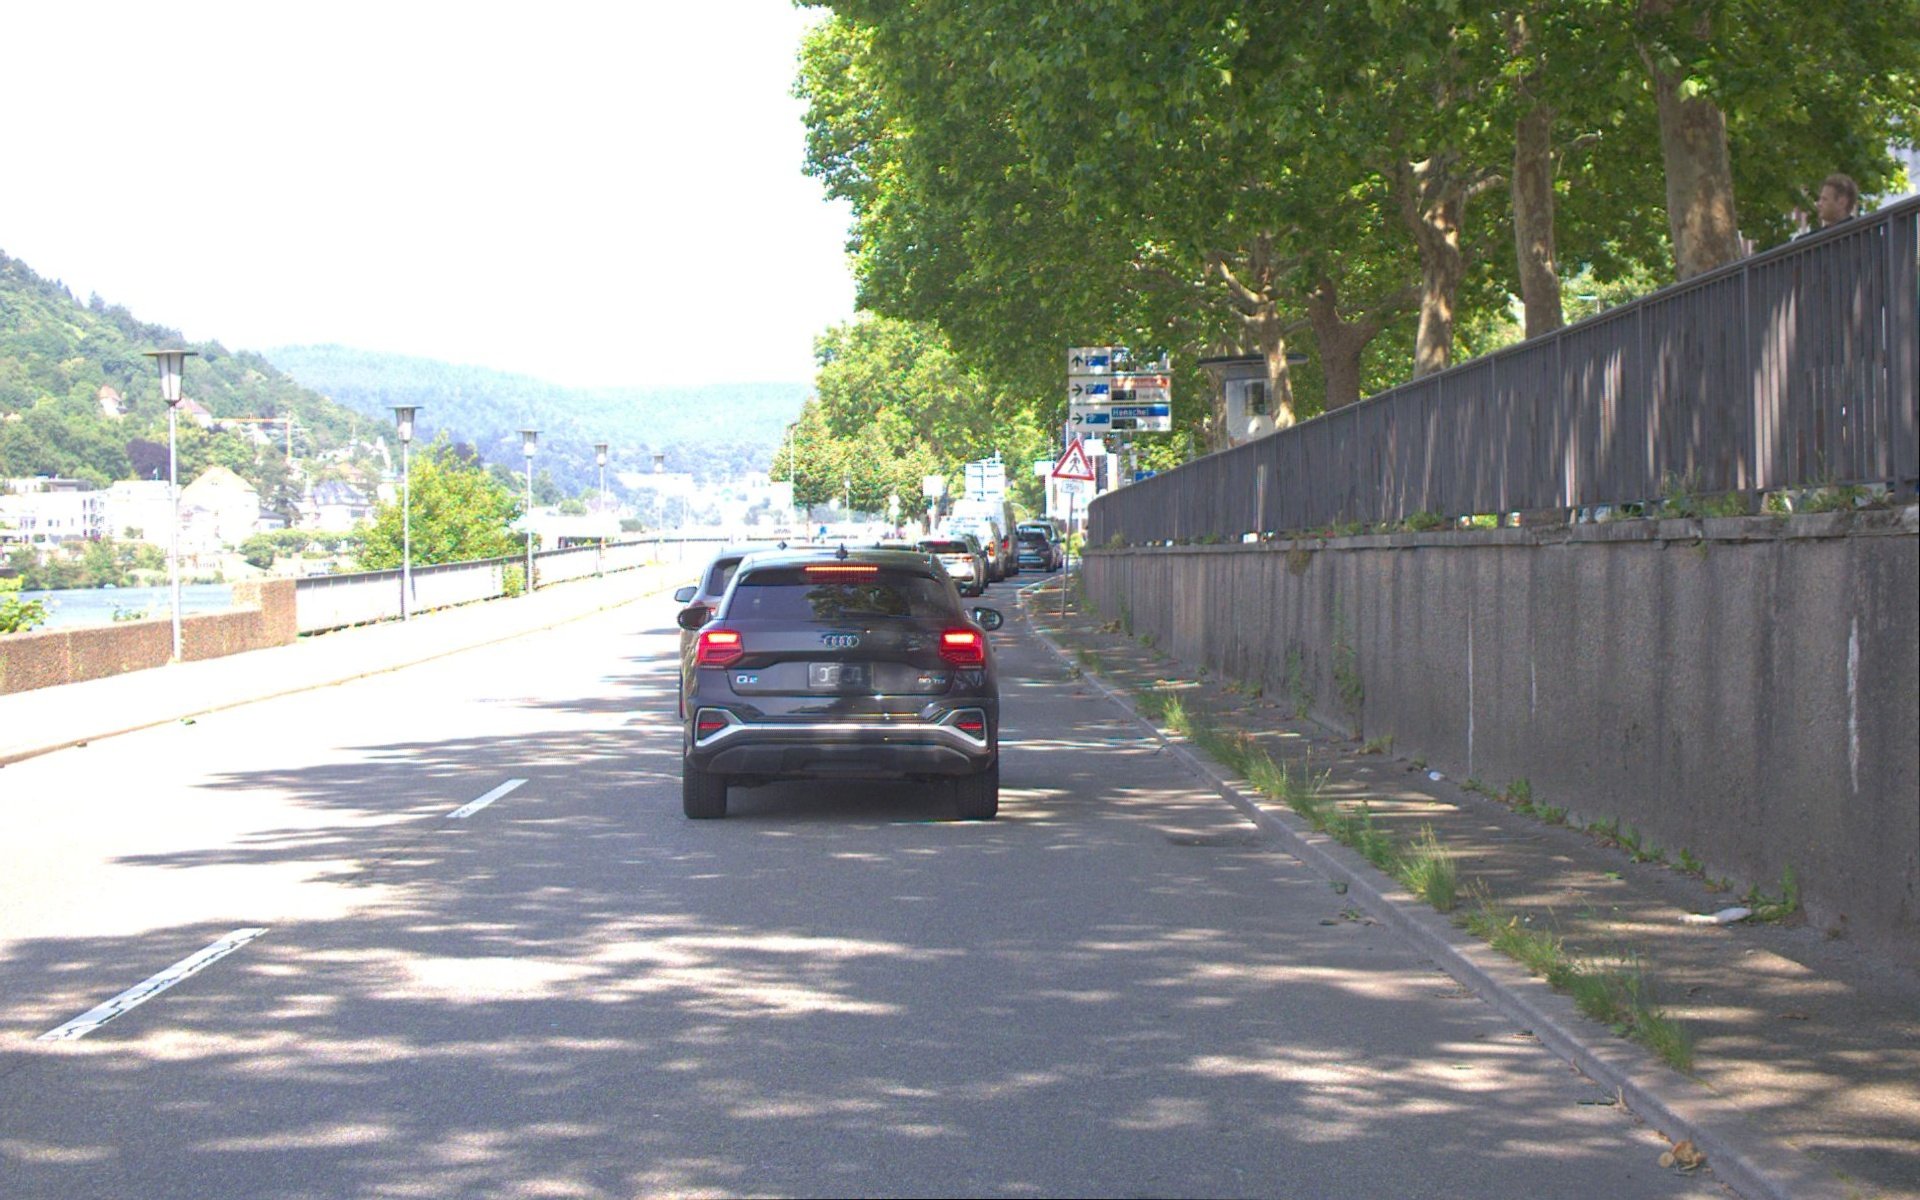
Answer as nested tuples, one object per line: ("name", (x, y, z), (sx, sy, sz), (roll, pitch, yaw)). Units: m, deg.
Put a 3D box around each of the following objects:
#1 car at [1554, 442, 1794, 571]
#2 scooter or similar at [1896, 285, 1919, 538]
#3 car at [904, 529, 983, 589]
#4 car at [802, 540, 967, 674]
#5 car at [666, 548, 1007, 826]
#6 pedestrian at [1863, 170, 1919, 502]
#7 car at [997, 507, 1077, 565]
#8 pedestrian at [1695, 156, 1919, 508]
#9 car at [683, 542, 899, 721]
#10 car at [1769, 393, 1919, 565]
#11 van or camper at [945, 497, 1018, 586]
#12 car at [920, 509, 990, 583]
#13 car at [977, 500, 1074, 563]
("car", (8.587, -1.101, 41.130), (1.777, 1.464, 3.994), (1, 1, 28))
("scooter or similar", (4.338, -0.784, 13.658), (0.855, 1.023, 1.107), (-4, 1, -1))
("car", (-0.428, -1.013, 83.750), (1.828, 1.439, 4.000), (0, 1, -1))
("car", (-0.886, 0.043, 40.150), (1.828, 1.481, 4.000), (0, 1, -1))
("car", (-0.714, 0.439, 20.472), (1.828, 1.481, 4.000), (0, 1, -1))
("pedestrian", (4.322, -1.118, 14.479), (0.680, 1.361, 0.989), (-3, 1, -1))
("car", (2.910, -2.444, 131.026), (2.661, 2.007, 5.825), (-3, 1, -1))
("pedestrian", (4.155, -1.258, 16.429), (0.936, 1.574, 1.028), (-3, 1, -3))
("car", (-1.481, 0.238, 31.168), (1.828, 1.506, 4.000), (0, 1, -1))
("car", (8.722, -1.080, 31.872), (1.651, 1.495, 3.813), (0, 1, 25))
("van or camper", (0.719, -1.916, 112.510), (2.310, 2.837, 4.246), (-1, 1, 1))
("car", (-0.166, -1.632, 103.567), (1.993, 2.162, 4.000), (-1, 1, -1))
("car", (2.302, -2.433, 122.485), (3.098, 2.007, 5.825), (-3, 1, -1))
